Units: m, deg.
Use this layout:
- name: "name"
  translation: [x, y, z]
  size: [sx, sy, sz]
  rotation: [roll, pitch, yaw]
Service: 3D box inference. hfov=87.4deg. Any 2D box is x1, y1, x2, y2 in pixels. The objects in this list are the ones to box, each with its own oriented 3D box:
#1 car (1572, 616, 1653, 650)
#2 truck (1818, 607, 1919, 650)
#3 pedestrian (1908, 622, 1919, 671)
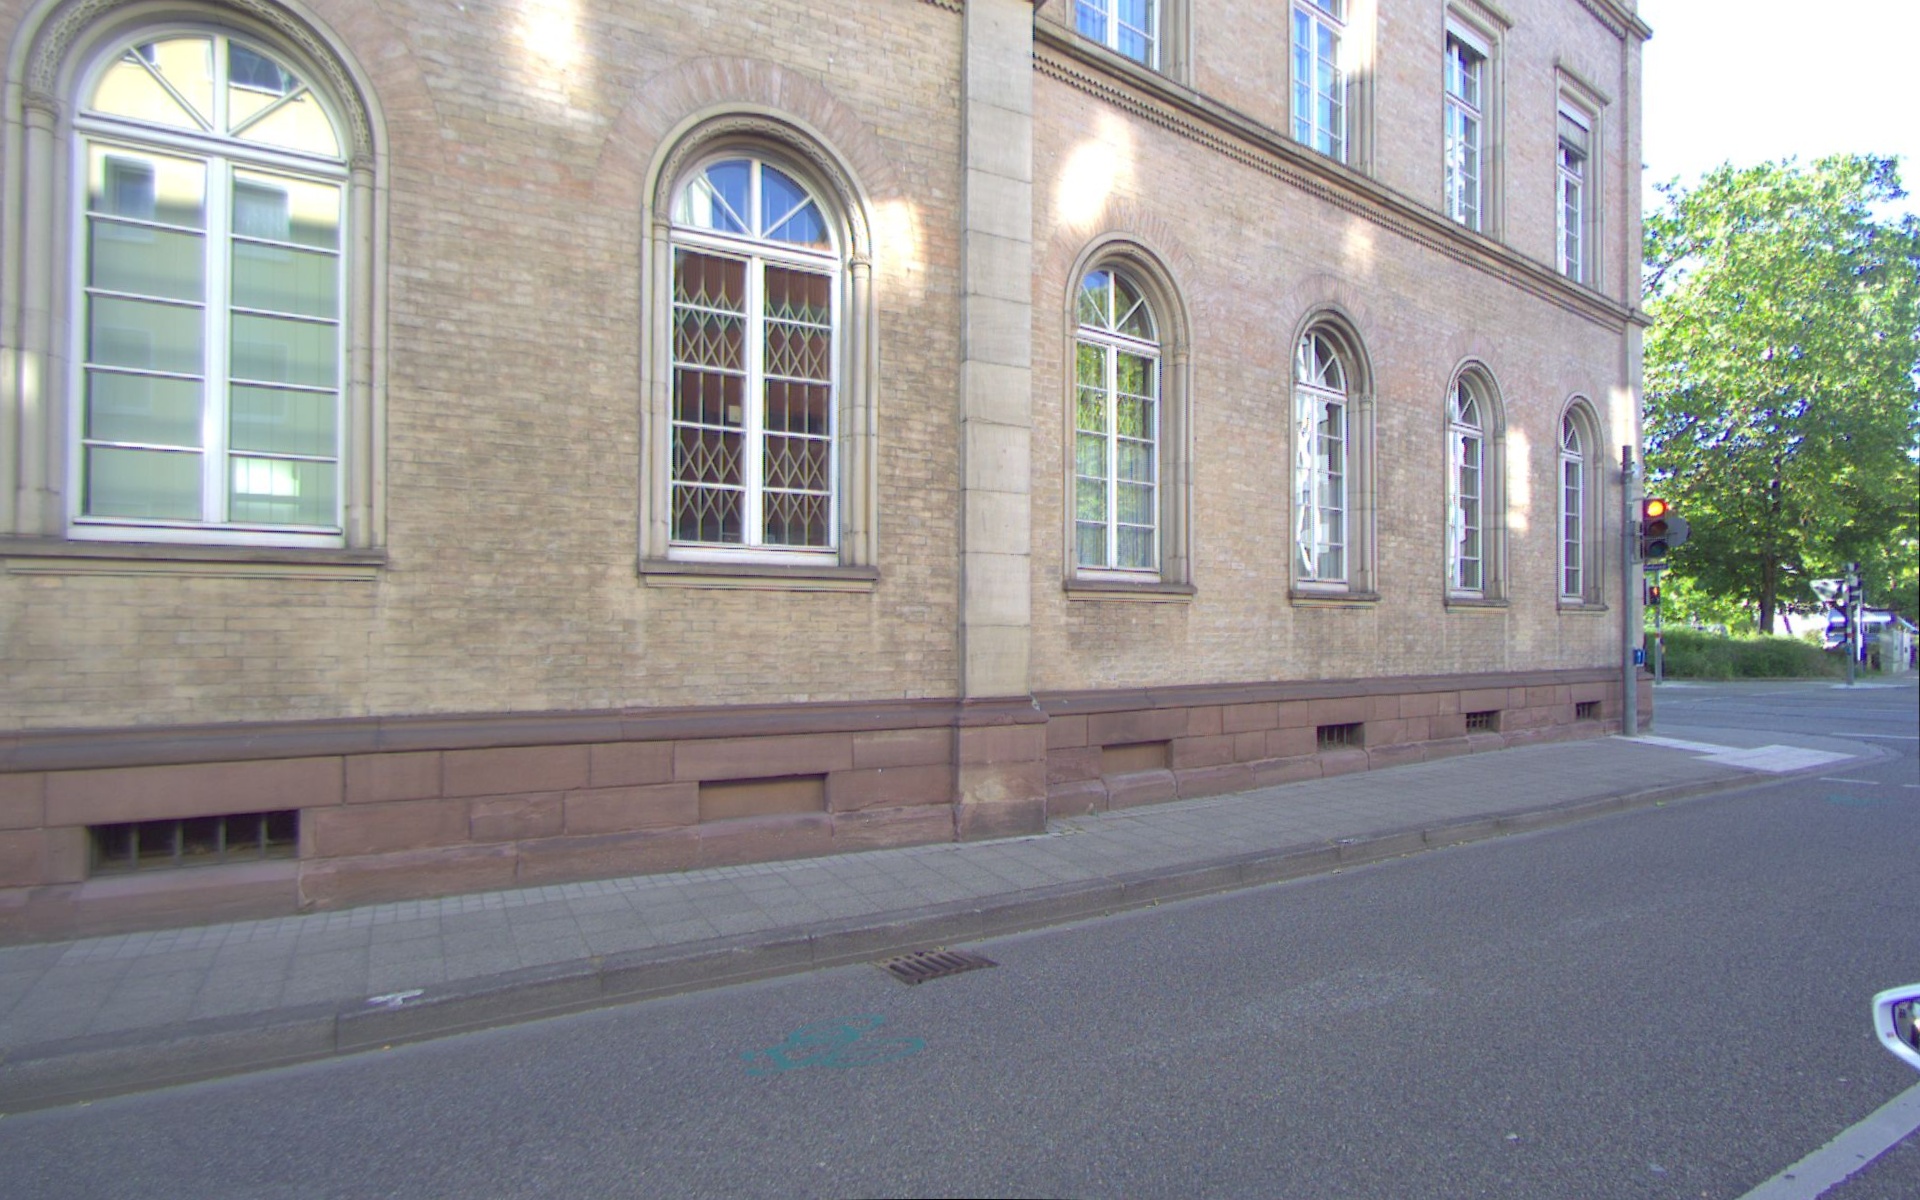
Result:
- name: "car"
  translation: [47.843, 2.469, 73.727]
  size: [2.056, 2.423, 4.521]
  rotation: [2, -3, -38]
- name: "truck"
  translation: [53.769, 1.663, 59.074]
  size: [2.069, 2.431, 4.790]
  rotation: [1, -1, -39]
- name: "pedestrian"
  translation: [34.680, 1.663, 36.112]
  size: [0.947, 1.745, 0.697]
  rotation: [2, -3, -40]
